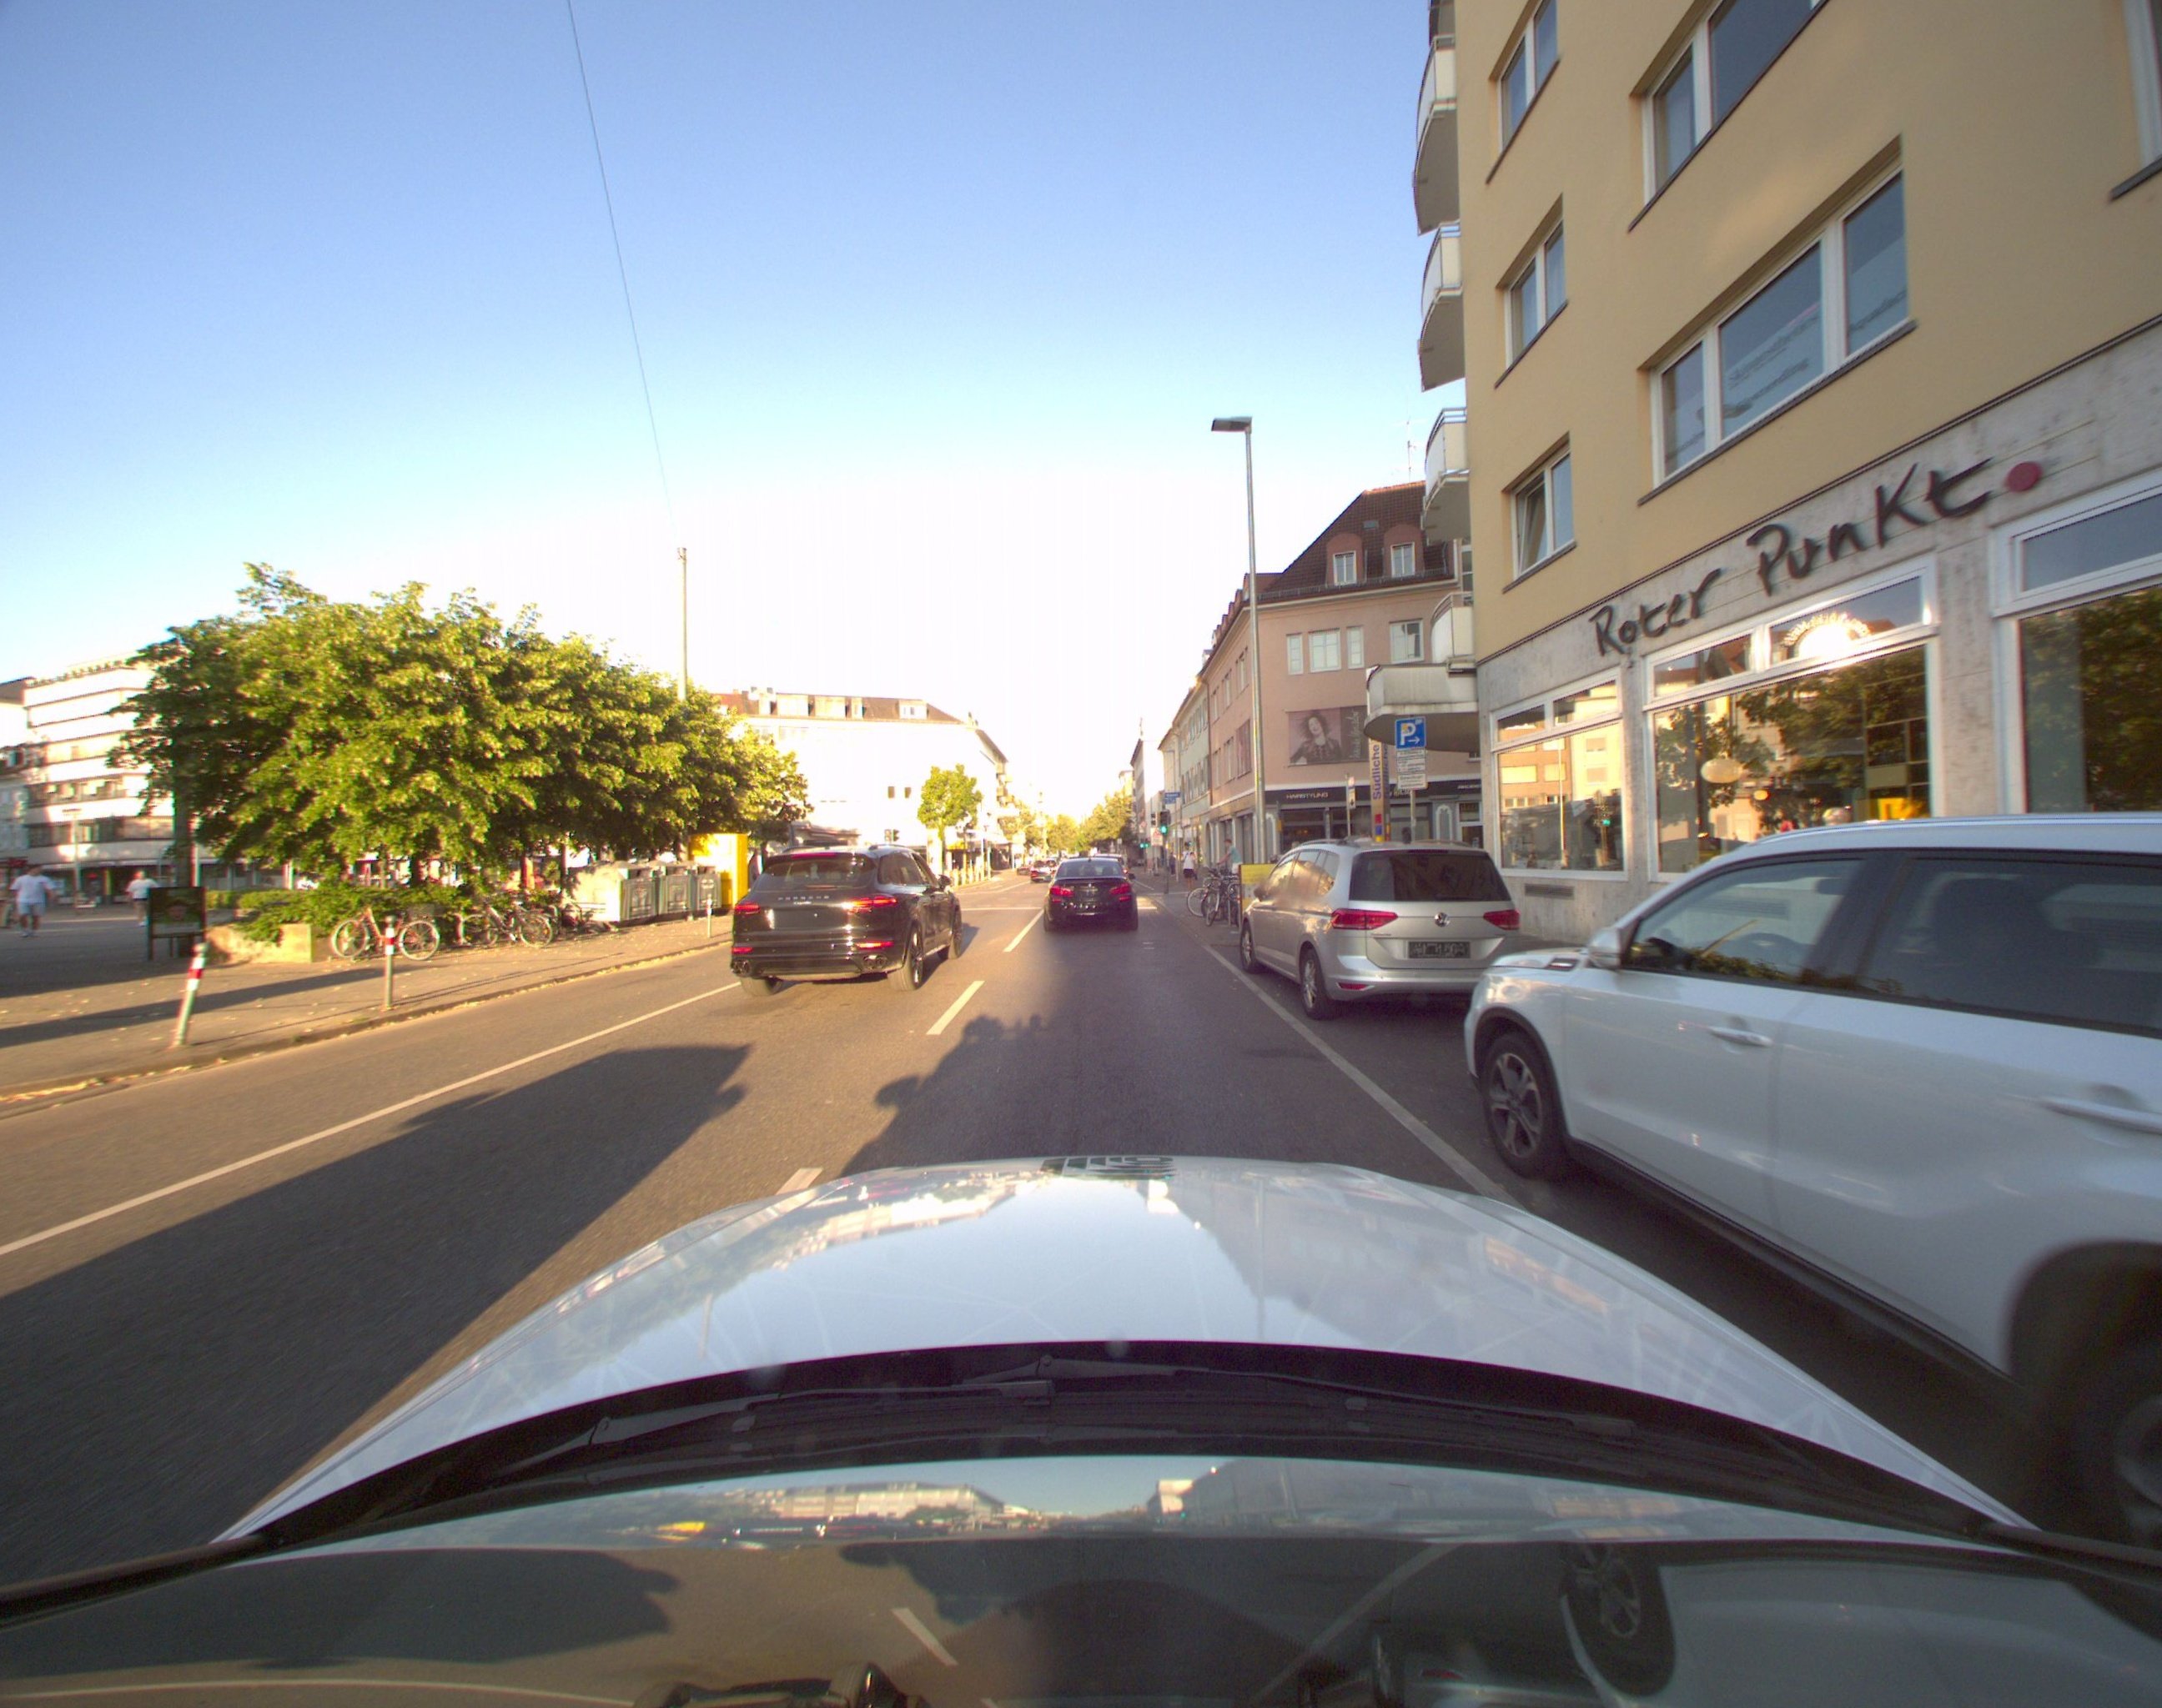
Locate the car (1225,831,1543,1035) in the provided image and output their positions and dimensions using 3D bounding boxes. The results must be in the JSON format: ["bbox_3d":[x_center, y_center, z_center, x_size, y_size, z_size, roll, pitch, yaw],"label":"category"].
[{"bbox_3d":[2.890,0.641,8.977,1.692,1.616,4.681,-1,0,-1],"label":"car"}]

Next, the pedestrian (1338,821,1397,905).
[{"bbox_3d":[6.369,0.192,18.145,0.829,1.817,0.863,-1,-1,-31],"label":"pedestrian"}]

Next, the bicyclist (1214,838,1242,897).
[{"bbox_3d":[4.654,0.434,25.817,0.828,1.826,0.833,-2,0,9],"label":"bicyclist"}]

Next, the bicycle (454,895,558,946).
[{"bbox_3d":[-11.574,1.335,16.427,1.669,0.979,0.548,0,0,-3],"label":"bicycle"}]

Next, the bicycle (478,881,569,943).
[{"bbox_3d":[-11.661,1.200,17.053,1.581,1.252,0.445,0,0,-1],"label":"bicycle"}]

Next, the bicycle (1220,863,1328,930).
[{"bbox_3d":[3.619,0.786,15.306,1.845,1.123,0.592,-3,-1,-11],"label":"bicycle"}]

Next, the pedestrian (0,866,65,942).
[{"bbox_3d":[-24.613,1.146,19.131,0.726,1.725,0.902,-1,-1,38],"label":"pedestrian"}]

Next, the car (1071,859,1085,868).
[{"bbox_3d":[-0.479,1.407,120.305,1.731,1.293,3.993,-1,0,-5],"label":"car"}]

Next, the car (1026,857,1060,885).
[{"bbox_3d":[-2.232,0.978,49.156,1.867,1.595,4.447,-1,0,-1],"label":"car"}]

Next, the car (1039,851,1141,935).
[{"bbox_3d":[0.163,0.741,17.590,1.897,1.540,4.449,-1,0,0],"label":"car"}]

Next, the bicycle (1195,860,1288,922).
[{"bbox_3d":[3.392,0.764,17.260,1.782,1.173,0.620,-3,0,-11],"label":"bicycle"}]

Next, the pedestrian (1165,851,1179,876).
[{"bbox_3d":[6.211,0.654,55.705,0.821,1.642,0.871,-2,-1,-1],"label":"pedestrian"}]

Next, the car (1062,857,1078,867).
[{"bbox_3d":[-1.526,1.106,113.540,1.990,1.442,3.993,-1,0,-5],"label":"car"}]

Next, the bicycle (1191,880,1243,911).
[{"bbox_3d":[3.350,1.023,20.165,1.004,0.681,1.047,-2,0,-8],"label":"bicycle"}]

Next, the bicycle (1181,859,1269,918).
[{"bbox_3d":[3.288,0.776,18.640,1.840,1.239,0.638,-2,0,-5],"label":"bicycle"}]

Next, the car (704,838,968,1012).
[{"bbox_3d":[-2.825,0.726,10.608,1.942,1.714,4.562,-2,0,1],"label":"car"}]

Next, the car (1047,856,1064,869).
[{"bbox_3d":[-3.378,1.130,107.960,1.990,1.618,3.993,-1,0,-5],"label":"car"}]

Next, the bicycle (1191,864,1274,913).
[{"bbox_3d":[3.639,0.817,19.575,1.782,1.063,0.716,-3,0,-11],"label":"bicycle"}]

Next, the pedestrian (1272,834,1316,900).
[{"bbox_3d":[5.496,0.322,21.027,0.782,1.653,0.785,-2,-1,44],"label":"pedestrian"}]

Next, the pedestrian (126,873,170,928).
[{"bbox_3d":[-27.993,1.377,24.433,0.696,1.621,0.846,-1,-1,39],"label":"pedestrian"}]

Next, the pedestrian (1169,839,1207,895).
[{"bbox_3d":[3.689,0.438,28.068,0.942,1.897,0.819,-1,-1,-26],"label":"pedestrian"}]

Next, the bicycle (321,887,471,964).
[{"bbox_3d":[-11.672,1.203,13.918,2.020,1.252,0.548,0,0,-3],"label":"bicycle"}]

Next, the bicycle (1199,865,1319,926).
[{"bbox_3d":[3.549,0.805,16.306,2.166,1.075,0.804,-3,0,-6],"label":"bicycle"}]

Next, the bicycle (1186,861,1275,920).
[{"bbox_3d":[3.272,0.782,17.893,1.782,1.173,0.620,-3,0,-11],"label":"bicycle"}]

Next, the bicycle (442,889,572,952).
[{"bbox_3d":[-10.944,1.262,15.564,2.020,1.134,0.548,0,0,-3],"label":"bicycle"}]

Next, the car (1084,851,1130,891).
[{"bbox_3d":[1.114,0.686,34.798,1.825,1.576,4.102,-1,0,2],"label":"car"}]

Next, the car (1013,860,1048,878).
[{"bbox_3d":[-4.506,1.315,71.495,2.000,1.486,3.973,-1,0,-20],"label":"car"}]

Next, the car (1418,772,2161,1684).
[{"bbox_3d":[2.850,0.647,2.698,1.810,1.621,4.204,-1,0,2],"label":"car"}]

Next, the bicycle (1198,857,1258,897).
[{"bbox_3d":[4.652,0.721,25.825,1.808,1.186,0.795,-2,0,10],"label":"bicycle"}]

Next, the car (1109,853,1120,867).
[{"bbox_3d":[4.782,0.861,116.737,1.417,1.855,3.050,0,-1,-2],"label":"car"}]
